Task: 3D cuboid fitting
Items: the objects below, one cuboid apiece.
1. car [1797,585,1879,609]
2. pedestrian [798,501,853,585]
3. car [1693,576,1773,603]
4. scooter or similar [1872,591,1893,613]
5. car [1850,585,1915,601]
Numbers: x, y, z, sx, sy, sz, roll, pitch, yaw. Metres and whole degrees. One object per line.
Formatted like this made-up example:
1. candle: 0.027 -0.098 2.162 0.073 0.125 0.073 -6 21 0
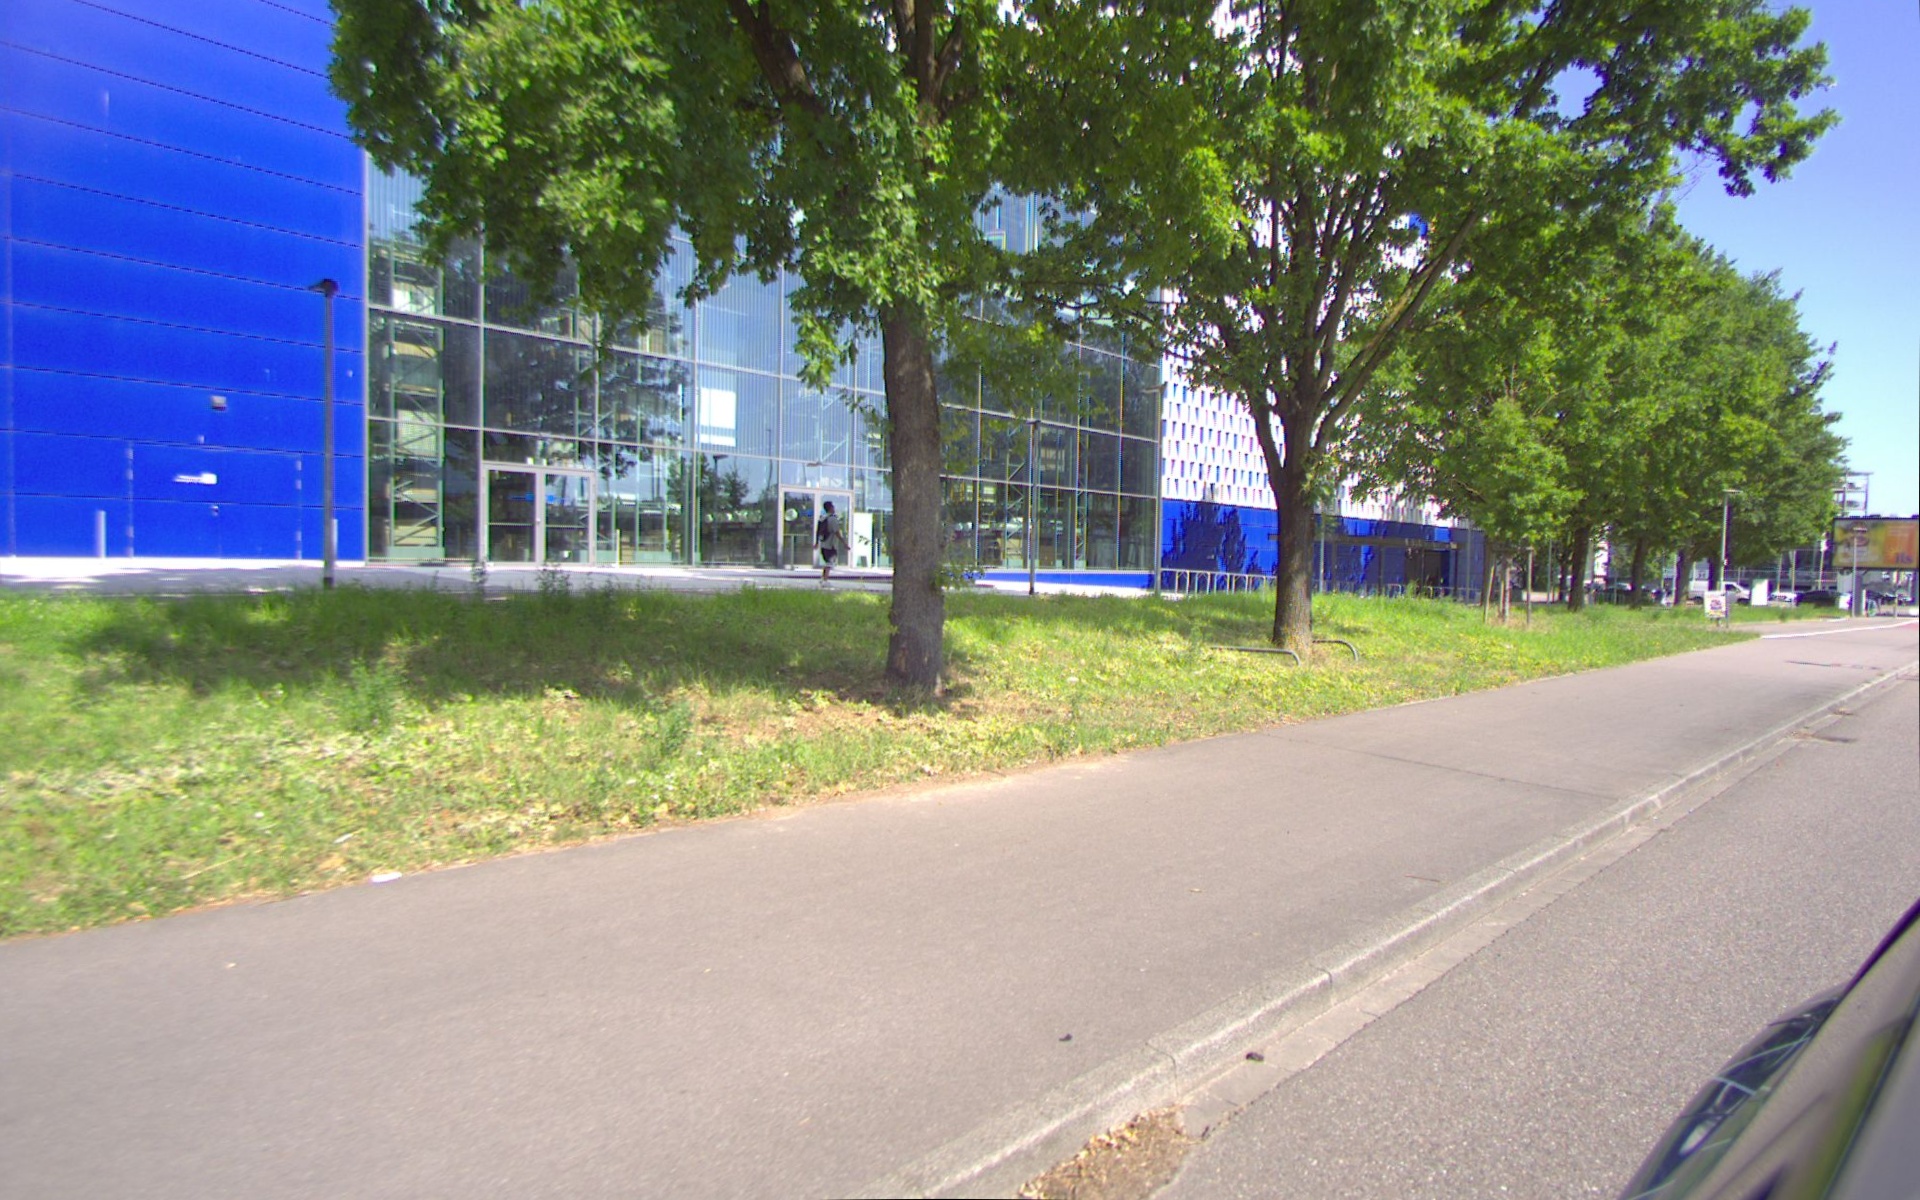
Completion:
1. car: 65.672 -0.218 75.721 1.688 1.647 4.492 -2 3 -44
2. pedestrian: -2.670 -1.125 20.089 0.688 1.632 0.759 4 2 43
3. car: 63.390 -0.907 83.055 1.713 2.031 4.989 -2 4 -44
4. scooter or similar: 50.933 0.083 55.878 1.160 1.181 0.403 -1 2 -26
5. car: 85.205 -0.656 93.483 1.792 1.366 4.341 0 3 -44
